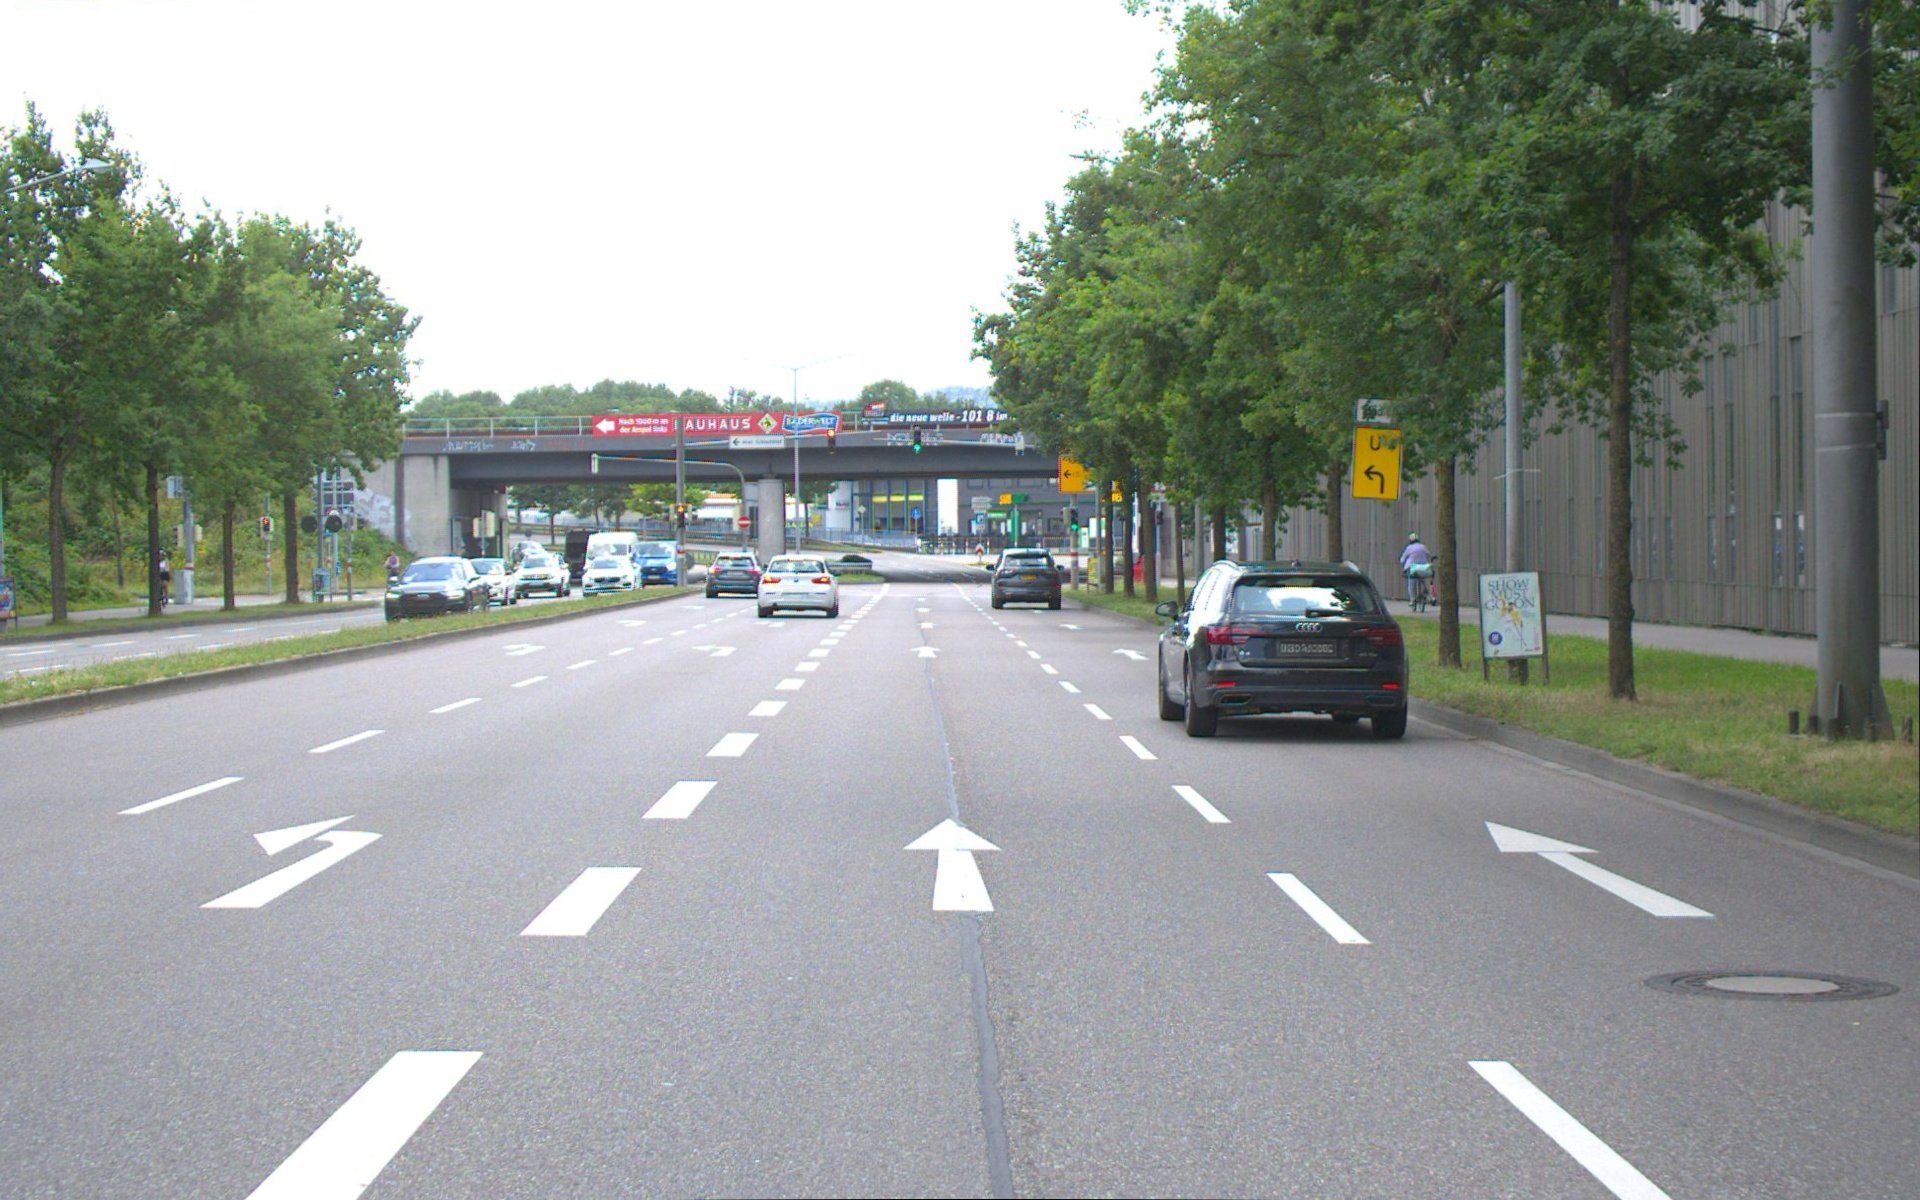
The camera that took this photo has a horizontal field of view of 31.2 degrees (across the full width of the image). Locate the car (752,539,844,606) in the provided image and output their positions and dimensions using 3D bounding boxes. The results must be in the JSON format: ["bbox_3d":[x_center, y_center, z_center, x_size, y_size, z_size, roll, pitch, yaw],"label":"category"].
[{"bbox_3d":[-3.717,-0.654,79.311,1.915,1.410,4.296,2,1,-1],"label":"car"}]

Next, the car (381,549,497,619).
[{"bbox_3d":[-11.844,-0.383,78.410,1.959,1.512,4.910,-1,1,-1],"label":"car"}]

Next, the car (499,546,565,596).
[{"bbox_3d":[-15.985,-1.099,128.563,1.993,1.795,4.410,-1,1,-2],"label":"car"}]

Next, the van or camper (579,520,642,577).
[{"bbox_3d":[-15.914,-2.347,156.730,2.351,2.531,7.065,0,1,-2],"label":"van or camper"}]

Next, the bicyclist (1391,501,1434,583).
[{"bbox_3d":[9.882,-1.274,75.103,0.715,1.763,0.989,-1,1,-4],"label":"bicyclist"}]

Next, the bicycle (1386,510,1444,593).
[{"bbox_3d":[9.905,-1.052,74.865,0.719,1.768,2.534,-1,1,-4],"label":"bicycle"}]

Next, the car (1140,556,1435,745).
[{"bbox_3d":[2.681,0.365,29.165,1.993,1.385,4.576,1,2,-1],"label":"car"}]

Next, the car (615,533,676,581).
[{"bbox_3d":[-13.123,-1.812,143.861,2.190,1.957,5.194,-1,1,-2],"label":"car"}]

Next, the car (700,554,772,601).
[{"bbox_3d":[-7.095,-0.728,109.206,1.993,1.410,4.832,1,1,-1],"label":"car"}]

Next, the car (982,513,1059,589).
[{"bbox_3d":[1.657,-1.354,94.892,1.993,2.030,4.713,-1,1,0],"label":"car"}]

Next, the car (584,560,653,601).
[{"bbox_3d":[-12.354,-0.724,124.480,1.993,1.426,5.024,-1,1,0],"label":"car"}]

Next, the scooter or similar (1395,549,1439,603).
[{"bbox_3d":[10.946,-0.589,82.407,0.704,1.242,2.480,-2,1,0],"label":"scooter or similar"}]
